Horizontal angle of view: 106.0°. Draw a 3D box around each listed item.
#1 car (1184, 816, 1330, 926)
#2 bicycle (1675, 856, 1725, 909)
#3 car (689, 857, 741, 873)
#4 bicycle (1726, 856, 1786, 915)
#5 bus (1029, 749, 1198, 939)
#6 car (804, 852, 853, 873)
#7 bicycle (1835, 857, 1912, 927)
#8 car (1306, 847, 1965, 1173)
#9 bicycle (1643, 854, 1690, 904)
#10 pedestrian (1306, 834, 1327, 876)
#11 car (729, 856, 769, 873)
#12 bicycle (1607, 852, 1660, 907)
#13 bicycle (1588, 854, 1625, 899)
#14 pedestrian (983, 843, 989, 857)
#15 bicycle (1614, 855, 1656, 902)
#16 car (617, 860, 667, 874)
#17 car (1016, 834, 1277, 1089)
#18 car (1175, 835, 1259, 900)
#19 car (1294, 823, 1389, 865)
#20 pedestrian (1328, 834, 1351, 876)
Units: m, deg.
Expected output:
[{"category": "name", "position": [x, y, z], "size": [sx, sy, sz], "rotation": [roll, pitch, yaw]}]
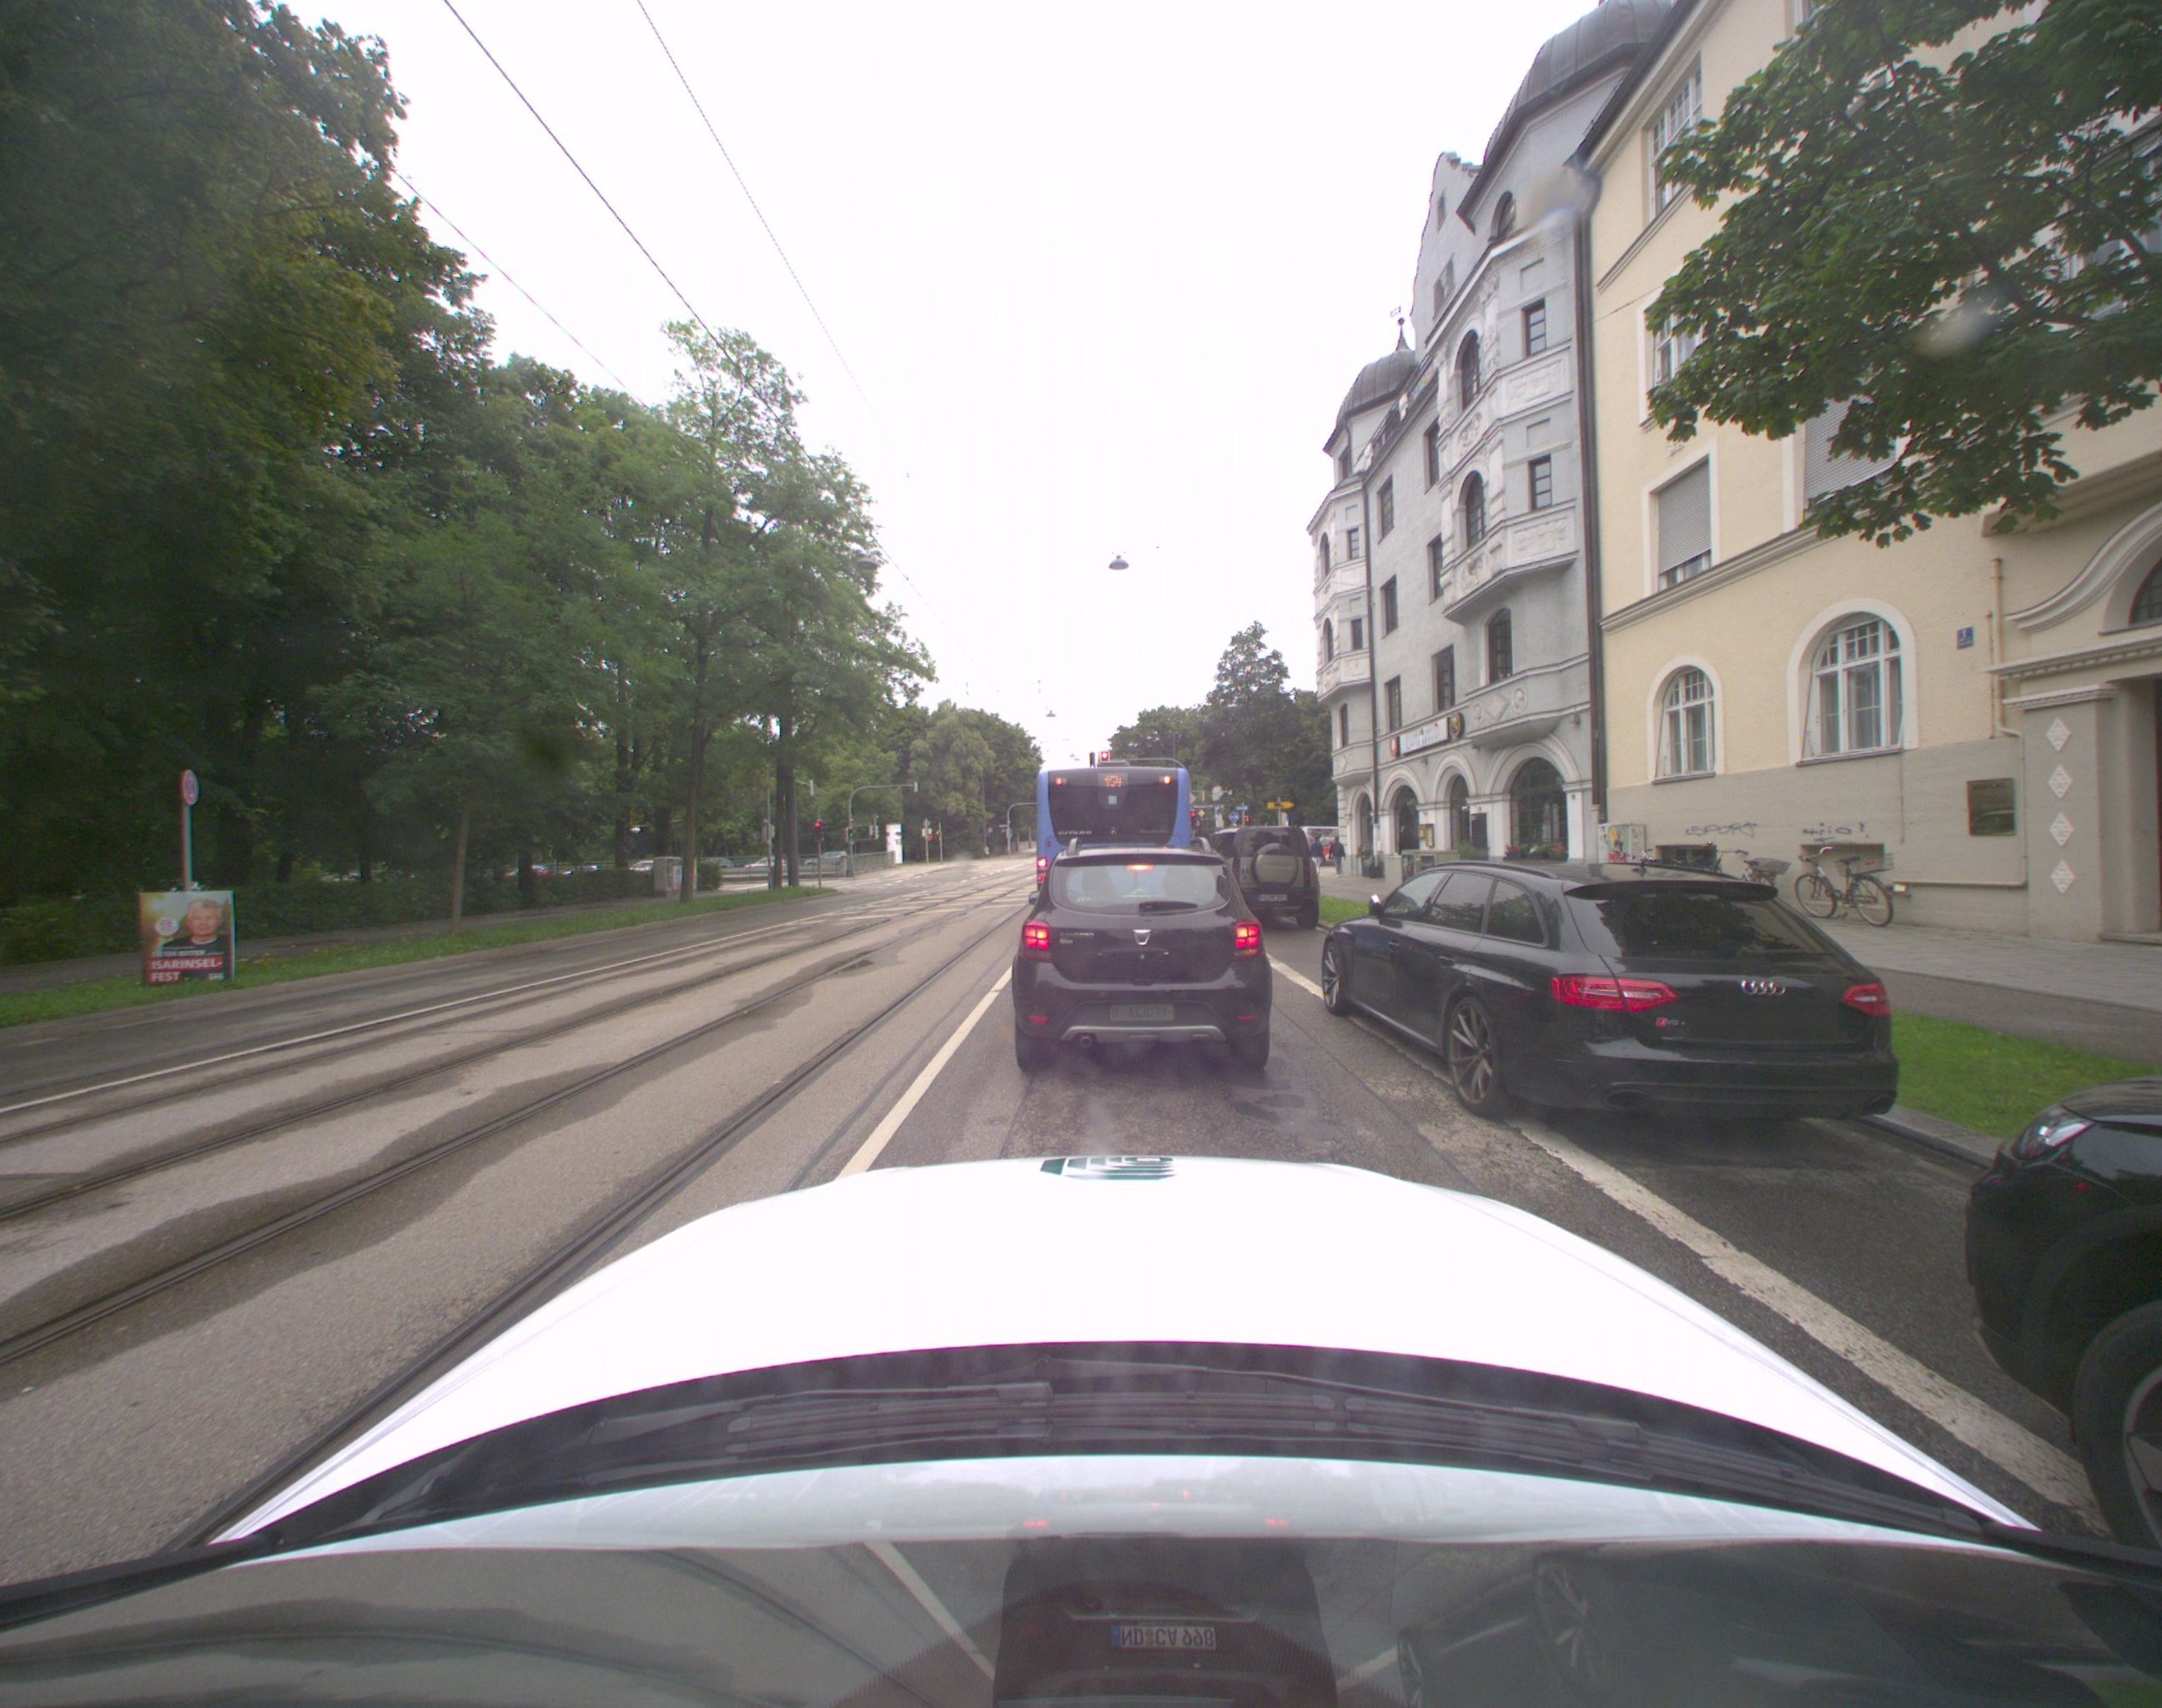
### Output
[{"category": "car", "position": [3.358, 0.294, 16.530], "size": [1.908, 1.905, 4.807], "rotation": [0, 0, 0]}, {"category": "bicycle", "position": [11.101, 0.494, 14.624], "size": [0.271, 0.930, 0.886], "rotation": [0, 0, 3]}, {"category": "car", "position": [-32.977, 1.005, 73.395], "size": [3.915, 1.404, 1.719], "rotation": [0, 0, -3]}, {"category": "bicycle", "position": [11.000, 0.503, 13.289], "size": [0.284, 0.930, 0.886], "rotation": [0, 0, 3]}, {"category": "bus", "position": [0.518, -0.163, 16.310], "size": [2.670, 2.997, 6.960], "rotation": [0, 0, 0]}, {"category": "car", "position": [-22.945, 0.719, 74.007], "size": [4.015, 1.887, 1.488], "rotation": [0, 0, -5]}, {"category": "bicycle", "position": [10.990, 0.509, 11.313], "size": [0.220, 0.930, 0.886], "rotation": [0, 0, 1]}, {"category": "car", "position": [3.060, 0.680, 5.865], "size": [1.709, 1.426, 4.603], "rotation": [0, 0, 1]}, {"category": "bicycle", "position": [11.192, 0.461, 15.593], "size": [0.304, 0.930, 0.886], "rotation": [0, 0, 4]}, {"category": "pedestrian", "position": [10.169, 0.036, 35.187], "size": [0.702, 1.816, 0.870], "rotation": [0, 0, 2]}, {"category": "car", "position": [-29.911, 0.924, 73.352], "size": [3.103, 1.452, 1.249], "rotation": [0, 0, -4]}, {"category": "bicycle", "position": [10.814, 0.482, 15.973], "size": [0.241, 1.039, 1.224], "rotation": [0, 0, 2]}, {"category": "bicycle", "position": [11.284, 0.468, 17.490], "size": [0.258, 0.930, 0.886], "rotation": [0, 0, 3]}, {"category": "pedestrian", "position": [-9.941, -0.391, 85.492], "size": [0.529, 1.501, 0.589], "rotation": [0, 0, 6]}, {"category": "bicycle", "position": [11.256, 0.483, 16.553], "size": [0.289, 0.930, 0.886], "rotation": [0, 0, 3]}, {"category": "car", "position": [-39.415, 1.148, 73.135], "size": [3.720, 1.185, 1.249], "rotation": [0, 0, -4]}, {"category": "car", "position": [0.440, 0.655, 6.738], "size": [1.595, 1.556, 3.526], "rotation": [0, 0, 1]}, {"category": "car", "position": [3.573, 0.322, 22.105], "size": [1.708, 1.591, 4.329], "rotation": [0, 0, 2]}, {"category": "car", "position": [16.303, -0.605, 51.241], "size": [5.281, 2.612, 2.229], "rotation": [0, 0, -2]}, {"category": "pedestrian", "position": [11.025, 0.042, 34.756], "size": [0.702, 1.732, 0.843], "rotation": [0, 0, 2]}]
